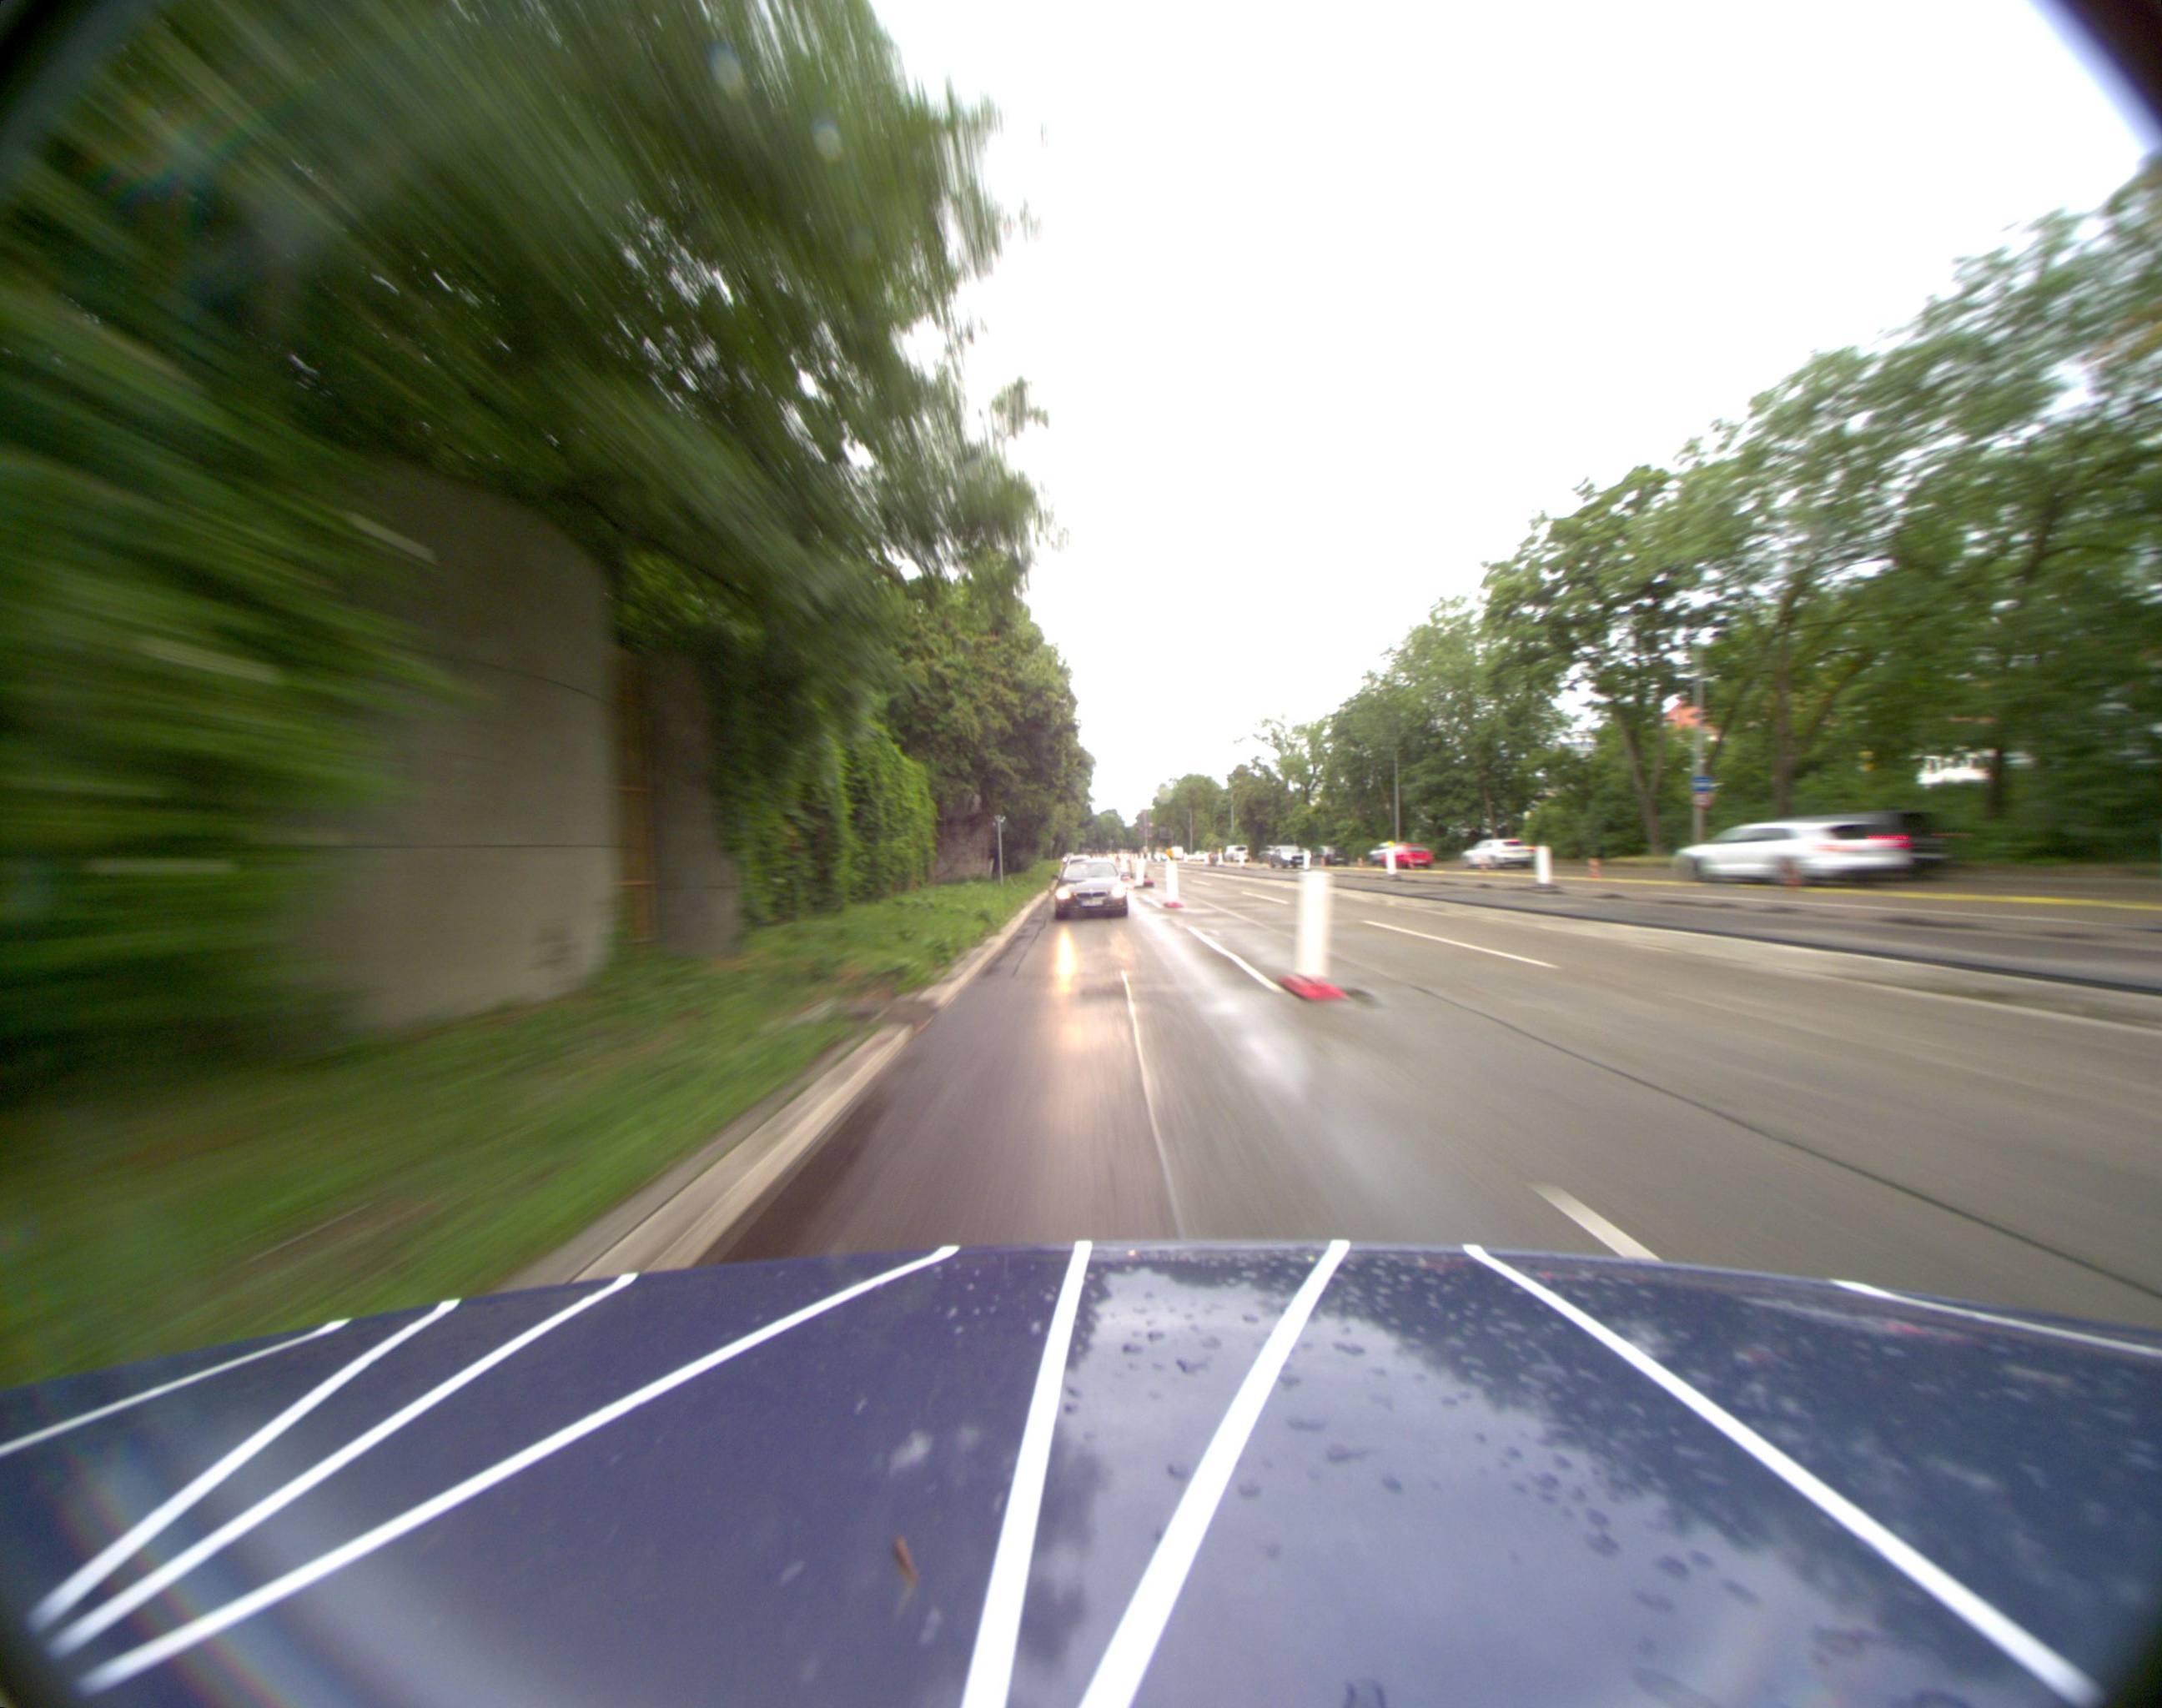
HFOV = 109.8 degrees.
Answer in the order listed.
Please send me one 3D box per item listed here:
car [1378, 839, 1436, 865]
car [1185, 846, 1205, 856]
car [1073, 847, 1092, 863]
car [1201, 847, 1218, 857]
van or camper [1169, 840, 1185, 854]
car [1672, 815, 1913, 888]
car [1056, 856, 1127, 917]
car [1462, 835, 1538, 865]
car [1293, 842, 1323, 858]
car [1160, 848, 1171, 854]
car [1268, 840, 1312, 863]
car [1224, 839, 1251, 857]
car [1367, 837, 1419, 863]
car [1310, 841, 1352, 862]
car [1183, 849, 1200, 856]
[{"bbox_3d":[18.847,-0.124,44.100,1.683,1.392,4.012,-2,1,1],"label":"car"},{"bbox_3d":[16.702,-0.386,111.332,1.999,1.407,4.391,-1,0,-4],"label":"car"},{"bbox_3d":[0.228,0.107,84.079,1.998,1.707,4.000,-1,1,1],"label":"car"},{"bbox_3d":[19.775,-0.370,116.817,1.733,1.467,4.486,-1,1,-1],"label":"car"},{"bbox_3d":[19.299,-1.402,153.105,1.999,2.540,7.728,-3,0,-1],"label":"van or camper"},{"bbox_3d":[18.774,-0.072,20.459,1.895,1.651,4.893,-2,1,0],"label":"car"},{"bbox_3d":[0.200,0.782,19.995,1.658,1.409,4.128,0,0,-1],"label":"car"},{"bbox_3d":[21.676,-0.228,39.515,1.683,1.487,4.148,0,1,1],"label":"car"},{"bbox_3d":[21.397,-0.393,71.635,1.649,1.412,4.000,-2,1,1],"label":"car"},{"bbox_3d":[18.306,-0.618,164.857,1.720,1.357,4.081,-1,0,0],"label":"car"},{"bbox_3d":[15.494,-0.203,56.587,1.998,1.619,4.812,-2,1,2],"label":"car"},{"bbox_3d":[18.166,-0.692,88.391,1.999,1.960,4.901,-2,0,-2],"label":"car"},{"bbox_3d":[21.561,-0.287,52.737,1.707,1.617,4.418,-2,0,0],"label":"car"},{"bbox_3d":[18.717,-0.215,57.084,1.781,1.479,4.196,-2,0,1],"label":"car"},{"bbox_3d":[19.579,-0.273,135.046,1.695,1.176,3.996,-3,1,-12],"label":"car"}]
